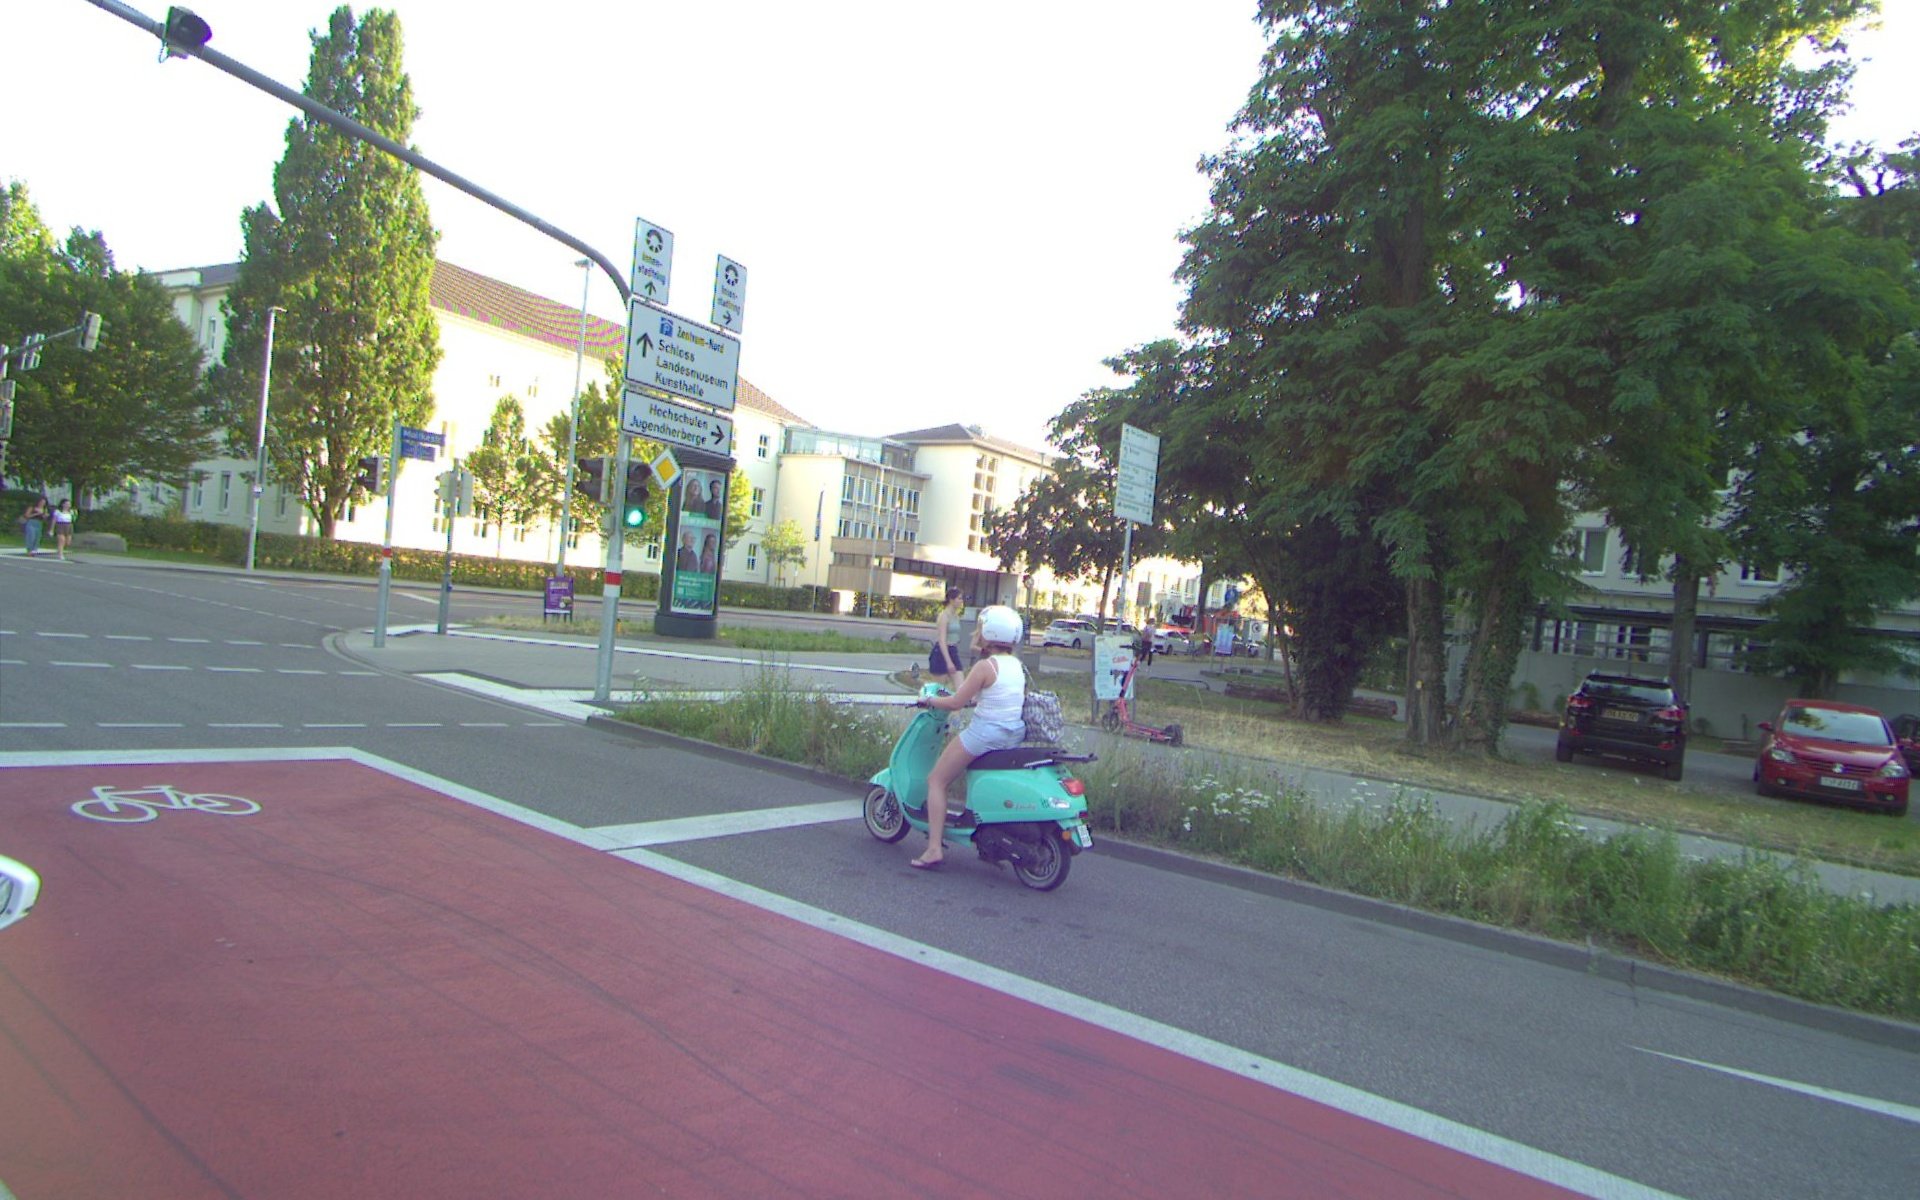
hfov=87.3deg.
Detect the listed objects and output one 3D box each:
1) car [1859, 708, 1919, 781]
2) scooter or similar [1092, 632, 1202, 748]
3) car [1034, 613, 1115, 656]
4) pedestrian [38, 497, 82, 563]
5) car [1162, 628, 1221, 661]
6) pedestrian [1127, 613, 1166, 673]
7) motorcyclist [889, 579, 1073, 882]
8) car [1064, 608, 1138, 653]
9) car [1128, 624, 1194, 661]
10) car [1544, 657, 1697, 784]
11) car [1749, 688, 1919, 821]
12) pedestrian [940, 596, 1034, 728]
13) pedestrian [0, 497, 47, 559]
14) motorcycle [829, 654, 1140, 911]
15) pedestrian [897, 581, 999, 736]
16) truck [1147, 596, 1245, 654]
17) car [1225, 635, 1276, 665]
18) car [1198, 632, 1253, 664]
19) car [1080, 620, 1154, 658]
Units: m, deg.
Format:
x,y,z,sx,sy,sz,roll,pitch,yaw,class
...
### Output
x,y,z,sx,sy,sz,roll,pitch,yaw,class
23.072,3.491,24.003,1.742,1.477,3.618,6,0,33,car
2.357,1.118,12.700,1.159,1.288,0.440,6,1,31,scooter or similar
5.452,1.655,47.674,1.873,1.660,3.983,6,0,38,car
-25.929,-2.019,28.976,0.677,1.776,0.681,7,2,31,pedestrian
13.817,2.678,59.900,1.969,1.660,3.987,6,0,35,car
5.825,1.349,31.464,0.694,1.761,0.892,7,1,40,pedestrian
0.140,0.798,6.450,0.680,1.758,0.737,7,1,40,motorcyclist
7.787,1.695,55.237,2.024,1.884,4.486,6,-2,35,car
11.062,2.346,55.135,1.969,1.660,3.987,6,0,35,car
11.840,2.053,17.912,1.890,1.762,4.223,6,0,37,car
14.124,2.367,16.335,1.890,1.631,3.983,6,0,38,car
0.345,0.770,12.663,0.776,1.542,0.735,7,1,34,pedestrian
-26.454,-2.034,28.407,0.831,1.643,0.681,7,2,32,pedestrian
0.102,1.077,6.453,1.867,1.212,0.681,7,0,40,motorcycle
-0.136,0.672,11.754,0.764,1.681,0.719,7,1,35,pedestrian
15.974,1.796,67.330,2.600,3.179,10.243,6,0,35,truck
19.713,3.405,68.167,1.969,1.660,3.987,6,0,35,car
16.790,3.043,63.489,1.969,1.660,3.987,6,0,35,car
8.034,2.012,51.303,1.970,1.632,3.985,6,0,37,car
